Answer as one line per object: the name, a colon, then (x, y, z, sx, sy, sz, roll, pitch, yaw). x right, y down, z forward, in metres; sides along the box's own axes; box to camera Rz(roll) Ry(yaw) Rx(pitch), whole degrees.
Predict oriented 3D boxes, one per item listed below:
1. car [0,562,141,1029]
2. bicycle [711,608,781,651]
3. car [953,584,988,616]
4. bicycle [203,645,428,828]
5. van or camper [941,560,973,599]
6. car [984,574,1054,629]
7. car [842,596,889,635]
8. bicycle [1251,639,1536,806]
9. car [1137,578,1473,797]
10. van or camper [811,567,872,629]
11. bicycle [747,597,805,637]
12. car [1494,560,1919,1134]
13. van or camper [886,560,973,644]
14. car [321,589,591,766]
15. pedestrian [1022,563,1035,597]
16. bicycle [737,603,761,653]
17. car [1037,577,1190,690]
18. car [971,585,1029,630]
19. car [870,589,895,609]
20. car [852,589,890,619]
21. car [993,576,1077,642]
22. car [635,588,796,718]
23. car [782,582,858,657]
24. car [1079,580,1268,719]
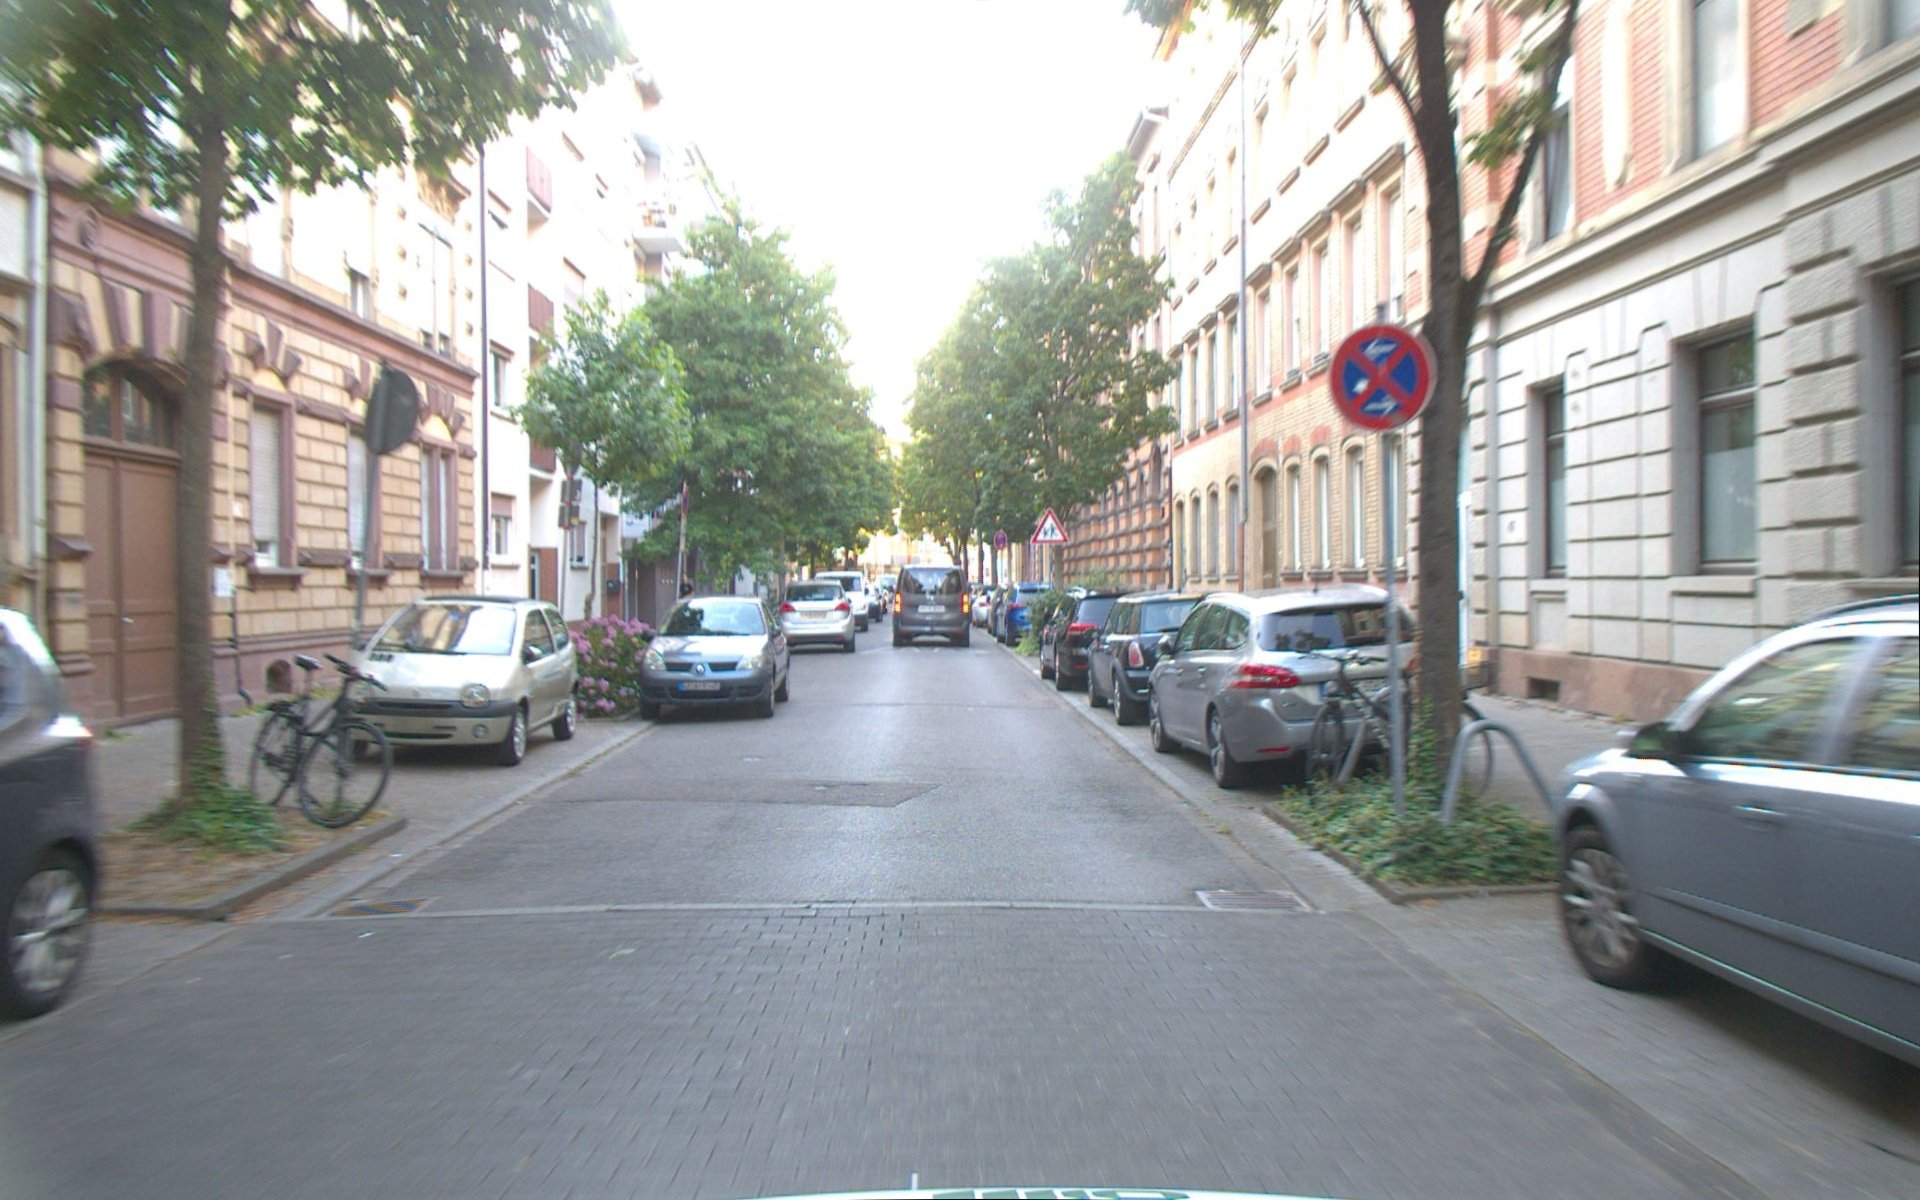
car: (-4.124, 0.683, 4.623, 1.672, 1.608, 4.077, 1, 1, -1)
bicycle: (-5.172, 0.707, 39.921, 1.694, 1.012, 0.575, -1, 1, 32)
car: (0.558, -0.021, 88.168, 1.580, 1.586, 3.764, -2, 0, -3)
bicycle: (-4.355, 0.870, 11.122, 1.795, 1.104, 0.665, 0, -1, 42)
van or camper: (-0.210, -1.422, 116.247, 1.954, 2.644, 5.421, -1, 0, -3)
car: (1.646, 0.021, 47.235, 1.677, 1.503, 4.191, -1, 0, -2)
car: (-3.849, 0.614, 67.817, 1.793, 1.544, 4.514, -1, 0, -2)
bicycle: (2.945, 0.795, 11.205, 1.890, 0.999, 0.634, -1, 1, -24)
car: (2.723, 0.600, 14.097, 1.683, 1.502, 4.365, -2, 1, -3)
van or camper: (-3.778, -0.093, 53.219, 1.839, 1.875, 4.750, -1, 1, -3)
bicycle: (-5.790, 0.532, 52.149, 0.686, 1.184, 1.813, -1, 1, 40)
car: (3.318, 0.618, 5.200, 1.723, 1.488, 4.306, -1, 1, -2)
van or camper: (-0.689, 0.040, 40.424, 1.993, 1.930, 4.271, 0, 0, 0)
car: (-4.629, 0.642, 15.672, 1.555, 1.462, 3.564, 1, 0, -2)
pedestrian: (3.447, -1.011, 82.749, 0.614, 1.677, 0.531, 0, 0, -1)
bicycle: (-4.891, 0.639, 38.331, 0.411, 1.123, 1.664, 0, 0, -2)
car: (2.195, 0.434, 24.728, 1.731, 1.439, 4.473, -3, 1, -1)
car: (1.338, 0.236, 57.028, 1.659, 1.425, 4.644, -2, 1, -2)
car: (-5.627, -0.095, 119.965, 1.706, 1.428, 3.373, -1, 0, -2)
car: (-4.559, 0.186, 85.613, 1.809, 1.477, 4.501, 0, 0, -1)
car: (1.774, 0.189, 40.261, 1.595, 1.492, 4.243, -1, 0, -4)
car: (-2.974, 0.593, 20.711, 1.548, 1.445, 3.752, -1, 0, -2)
car: (-3.206, 0.405, 37.974, 1.631, 1.590, 3.996, -1, 0, -5)
car: (2.445, 0.519, 19.699, 1.603, 1.449, 3.562, -2, 1, -3)
